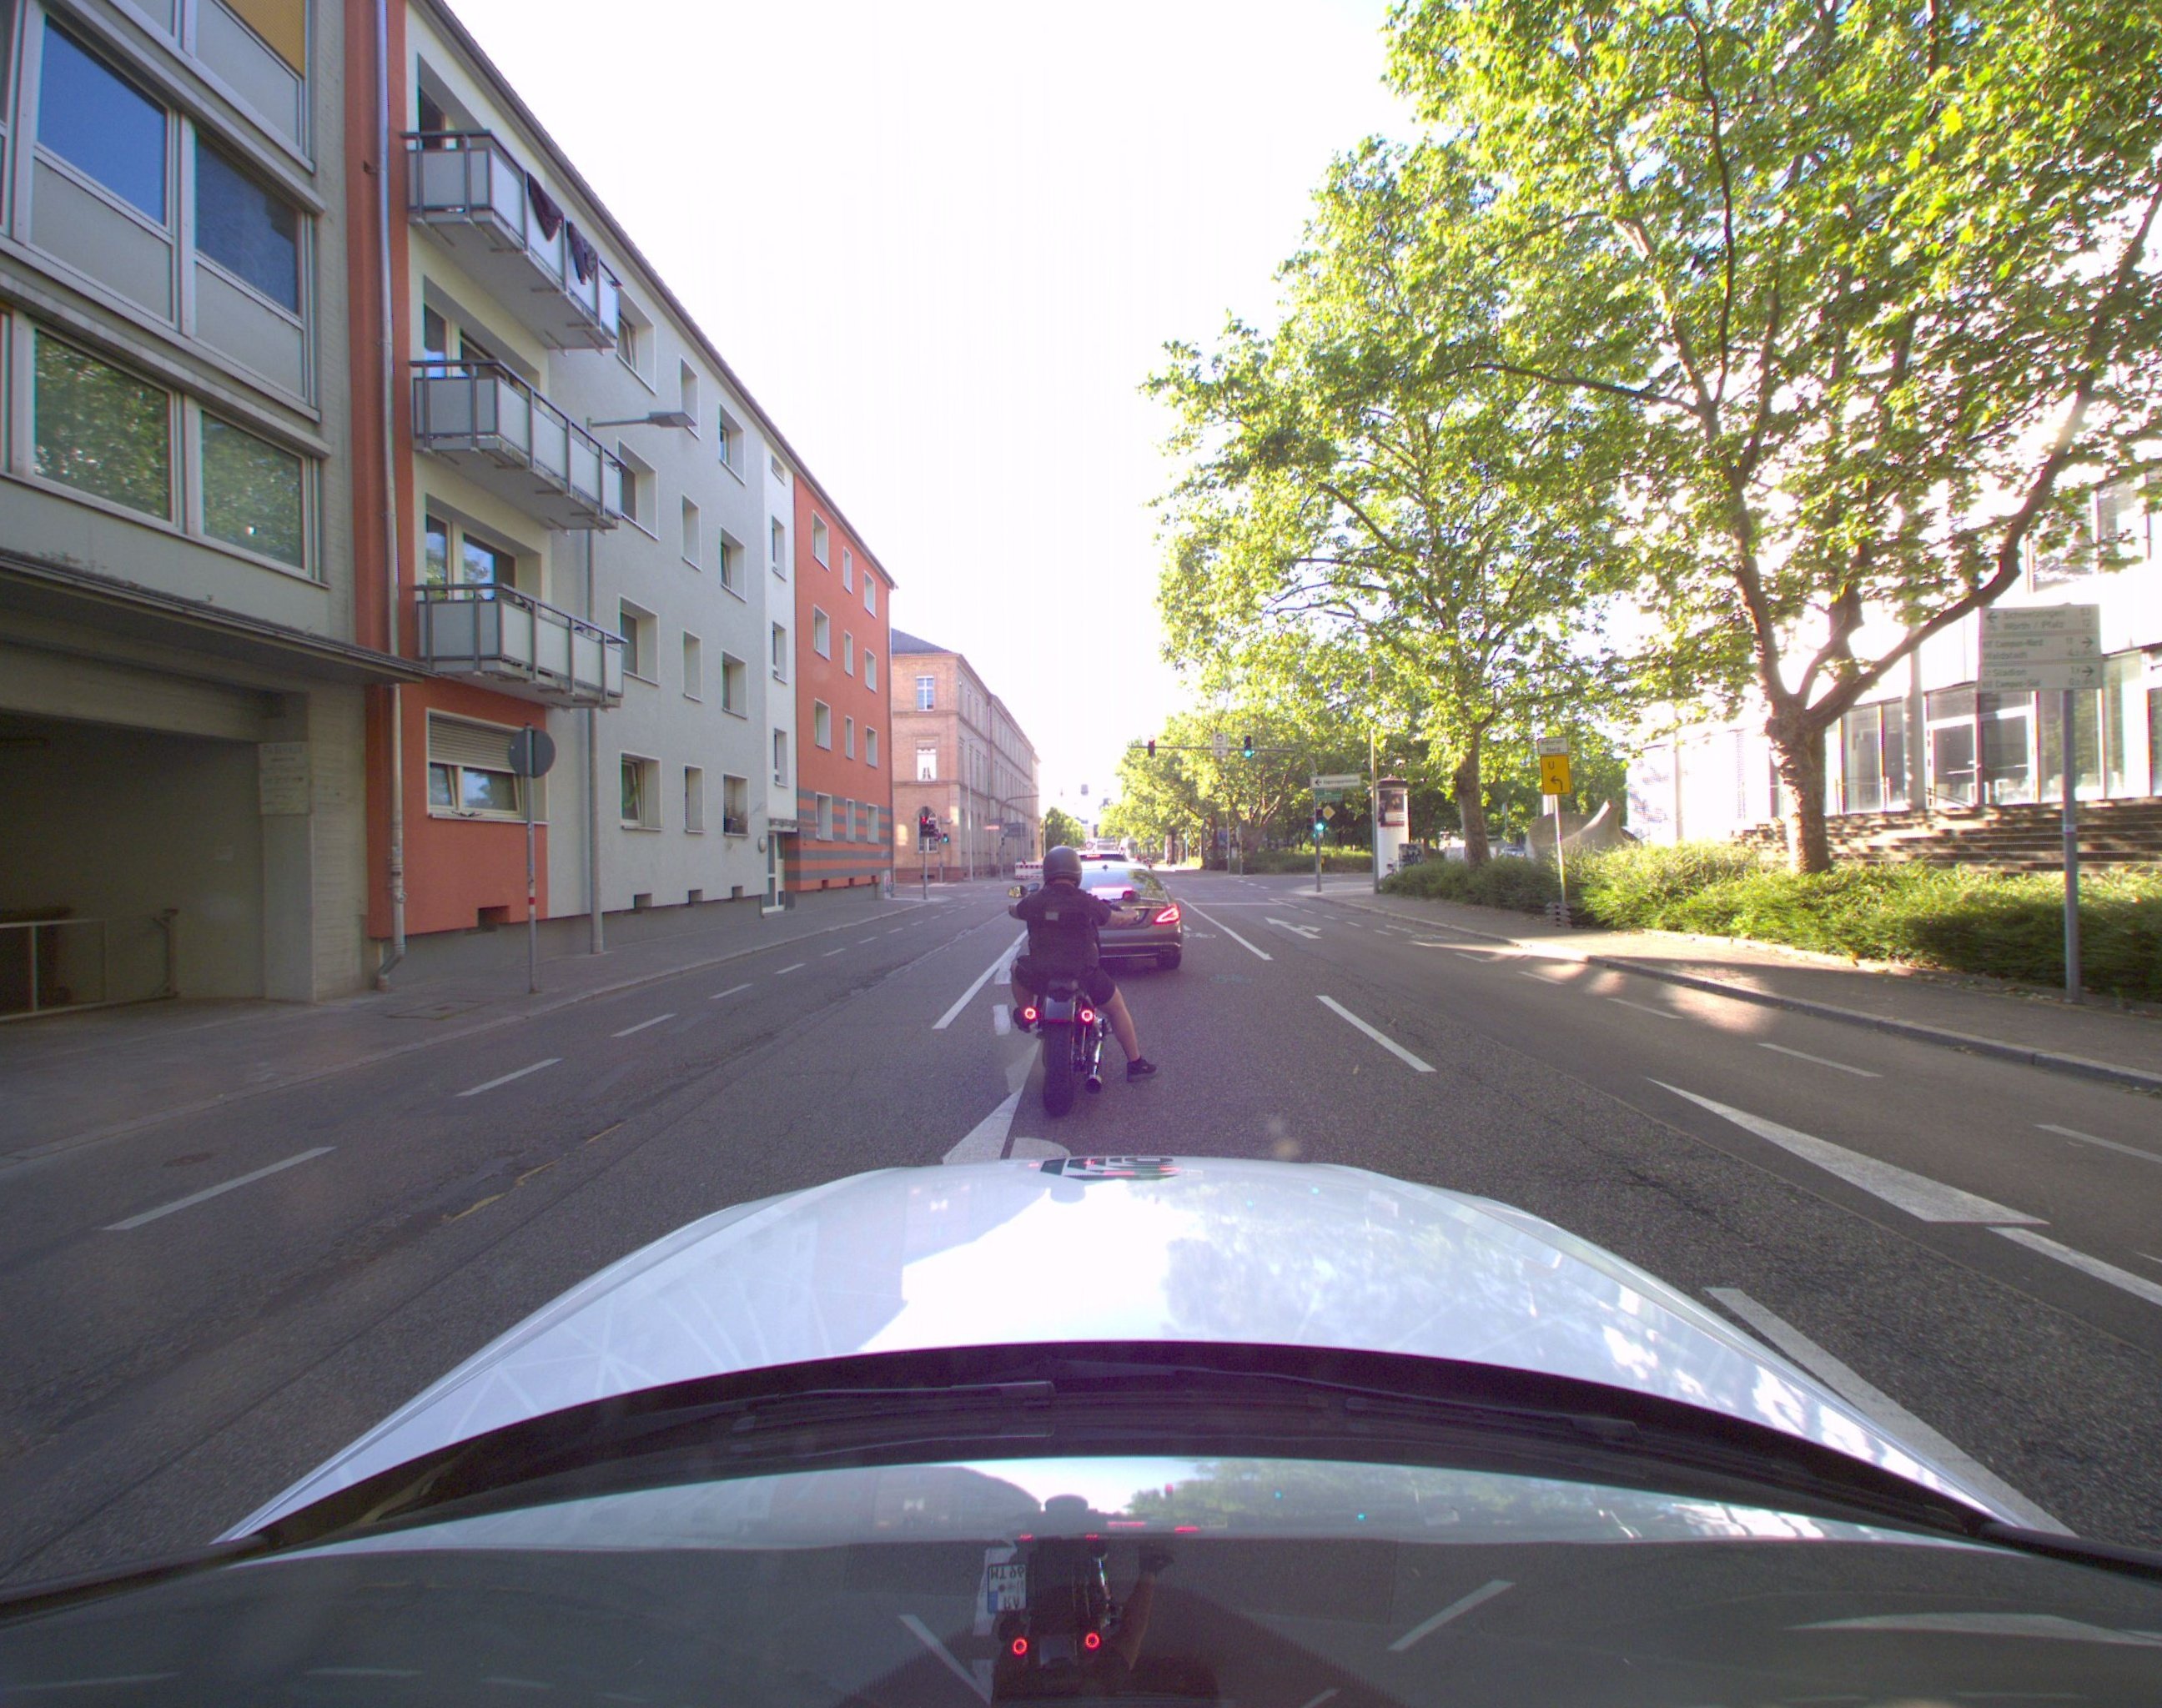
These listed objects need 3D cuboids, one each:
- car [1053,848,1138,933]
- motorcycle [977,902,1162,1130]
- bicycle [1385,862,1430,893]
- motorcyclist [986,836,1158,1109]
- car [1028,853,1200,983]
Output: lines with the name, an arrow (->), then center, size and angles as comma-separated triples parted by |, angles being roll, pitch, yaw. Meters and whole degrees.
car -> 0.324, 0.707, 17.883 | 1.606, 1.607, 4.329 | -1, 0, 1
motorcycle -> -0.024, 0.959, 5.674 | 0.986, 1.078, 2.453 | -1, 0, 2
bicycle -> 11.029, 0.793, 27.529 | 1.346, 1.023, 0.363 | -1, 0, 2
motorcyclist -> -0.033, 0.700, 5.521 | 0.986, 1.597, 1.404 | -1, 0, 2
car -> 0.260, 0.743, 11.713 | 1.943, 1.473, 4.355 | -1, 0, -5
